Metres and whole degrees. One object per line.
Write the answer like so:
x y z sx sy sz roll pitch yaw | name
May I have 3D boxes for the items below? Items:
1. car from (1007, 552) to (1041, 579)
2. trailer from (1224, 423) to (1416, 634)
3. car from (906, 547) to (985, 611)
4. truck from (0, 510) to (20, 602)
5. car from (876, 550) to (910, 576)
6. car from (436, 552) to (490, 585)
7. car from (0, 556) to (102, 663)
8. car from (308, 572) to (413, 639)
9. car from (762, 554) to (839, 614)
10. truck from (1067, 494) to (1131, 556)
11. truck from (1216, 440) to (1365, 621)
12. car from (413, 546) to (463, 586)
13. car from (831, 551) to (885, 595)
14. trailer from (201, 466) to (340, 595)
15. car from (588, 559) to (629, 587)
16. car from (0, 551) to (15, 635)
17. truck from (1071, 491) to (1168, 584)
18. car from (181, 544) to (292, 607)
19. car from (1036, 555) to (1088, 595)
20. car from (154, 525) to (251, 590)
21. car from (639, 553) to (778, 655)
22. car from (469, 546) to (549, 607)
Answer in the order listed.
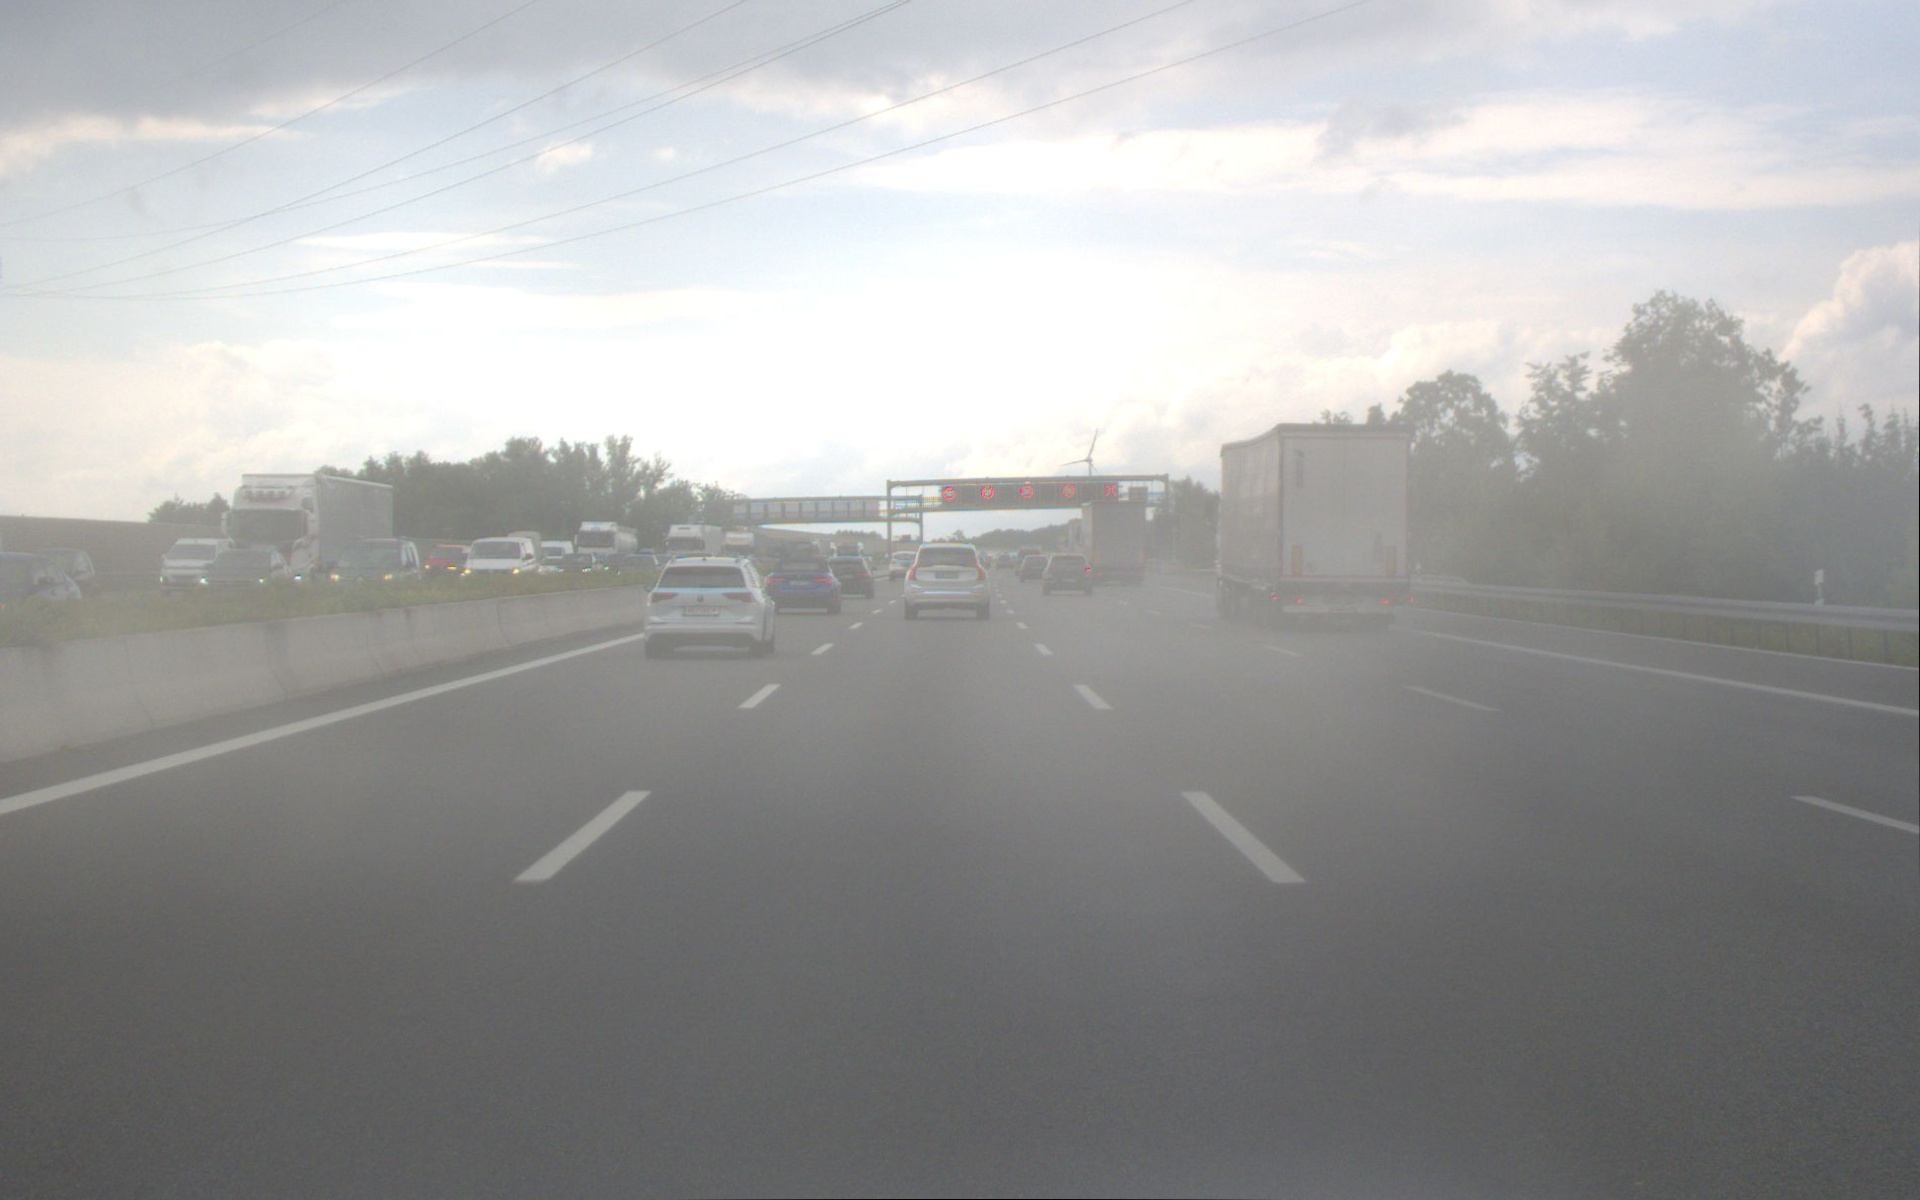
3.460 -1.885 185.521 1.836 1.436 4.055 0 1 1 | car
7.419 -1.469 72.738 2.961 4.006 14.118 0 1 2 | trailer
-0.350 -0.513 79.684 1.772 1.436 4.055 0 1 -1 | car
-26.033 -1.154 88.514 2.116 2.408 5.797 1 1 -1 | truck
-3.784 -2.083 194.779 1.772 1.436 4.055 0 1 1 | car
-22.245 -1.419 154.019 1.765 1.449 4.943 1 1 -1 | car
-14.513 0.101 52.103 1.765 1.531 5.161 1 1 -1 | car
-14.342 0.099 82.479 1.765 1.531 4.483 1 1 -1 | car
-3.959 -0.417 86.021 1.772 1.436 4.055 0 1 -1 | car
9.845 -5.296 245.068 4.244 4.162 11.989 1 1 1 | truck
7.589 -1.590 79.704 2.961 4.006 6.588 0 1 2 | truck
-25.916 -1.687 170.696 1.765 1.960 4.943 1 1 -1 | car
-3.455 -0.935 117.183 1.772 1.436 4.056 0 1 -1 | car
-22.248 -2.221 111.243 3.319 4.030 6.079 1 1 -1 | trailer
-18.349 -1.415 179.581 1.765 1.449 4.234 1 1 -1 | car
-18.391 -0.125 60.941 1.765 1.544 5.714 1 1 -1 | car
7.679 -2.993 167.624 4.180 4.273 12.613 1 1 0 | truck
-18.440 -0.627 87.816 1.765 1.531 5.161 1 1 -1 | car
3.758 -0.948 127.157 1.836 1.436 4.055 0 1 1 | car
-26.207 -1.463 119.063 2.116 2.186 5.798 1 1 -1 | car
-3.660 0.030 50.540 1.772 1.436 3.874 0 1 0 | car
-14.430 -0.773 110.262 1.922 1.893 5.161 1 1 -1 | car
